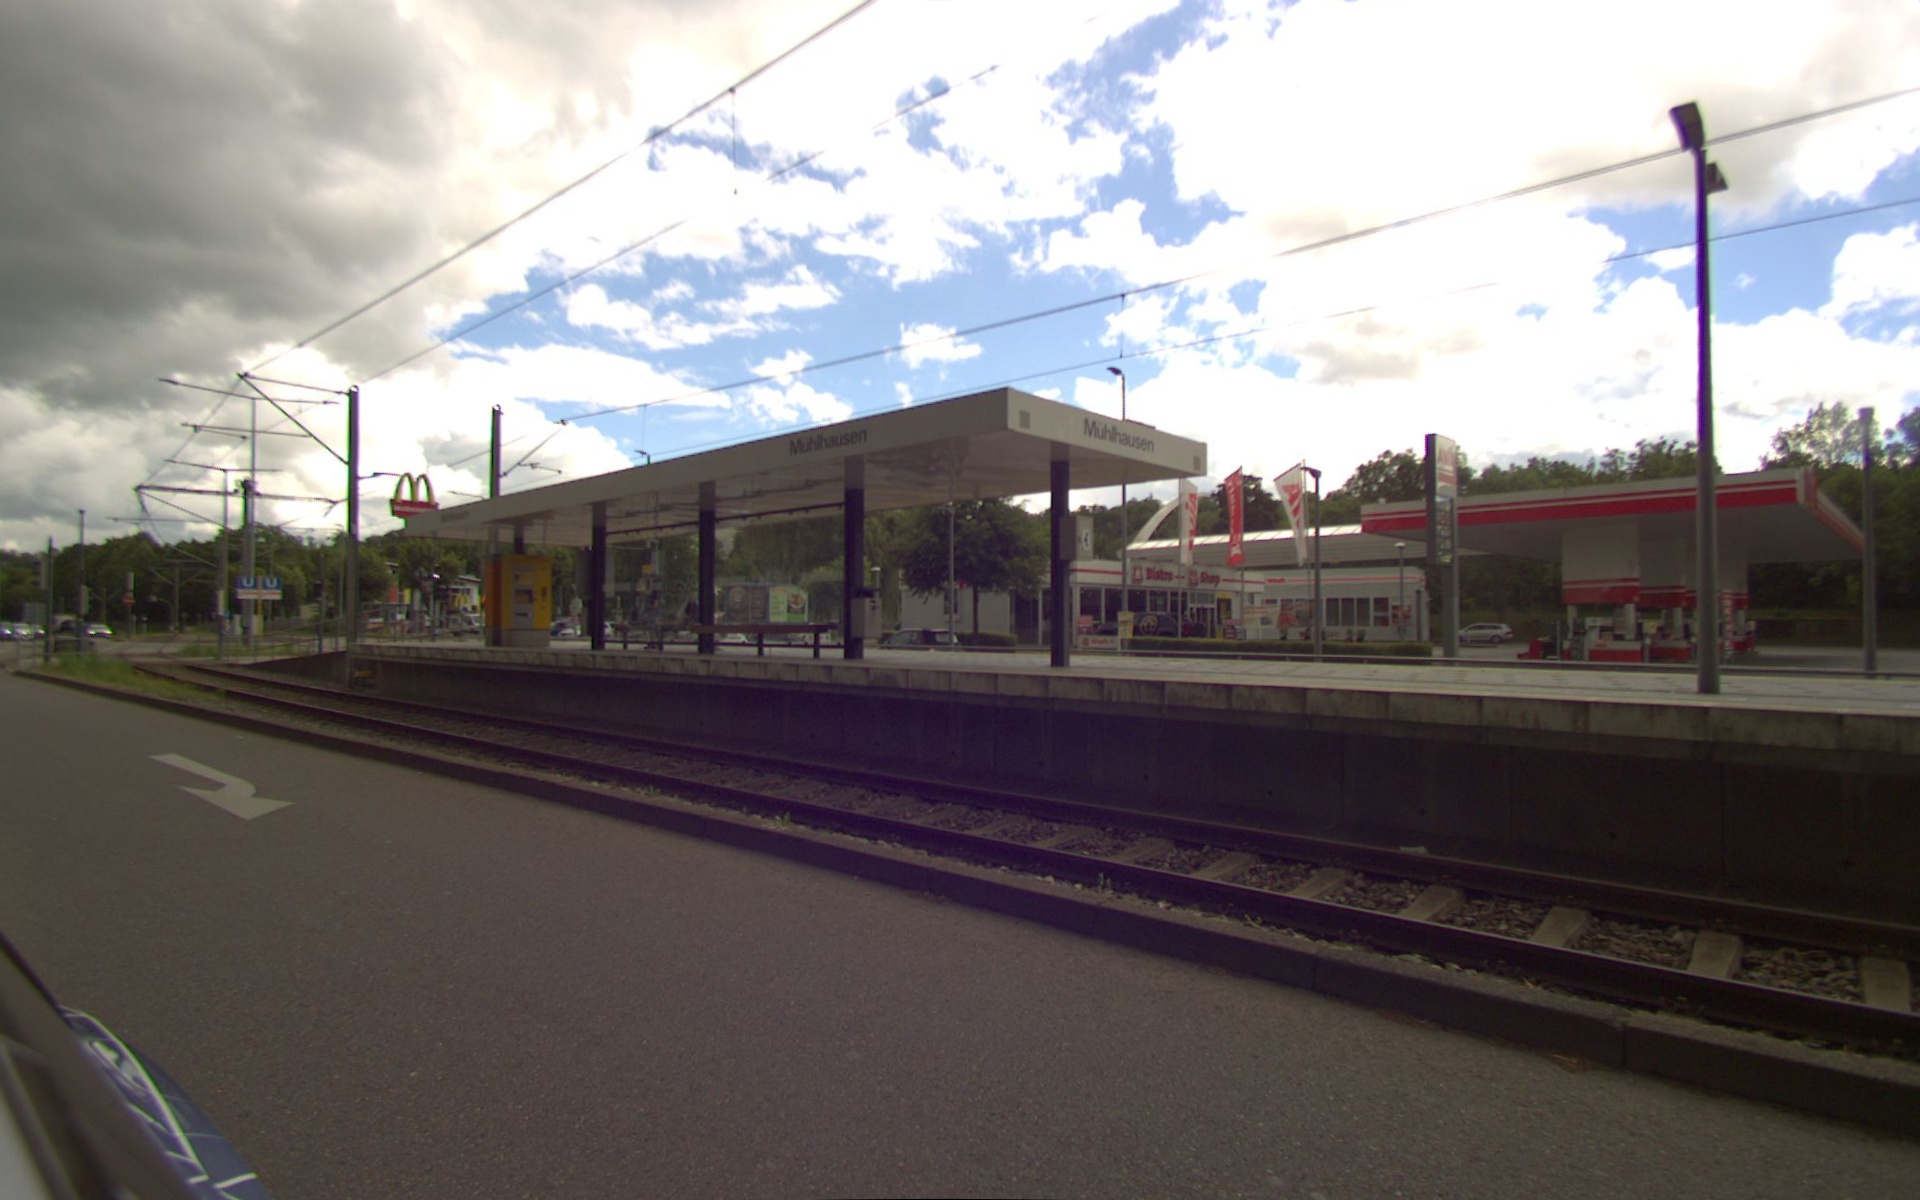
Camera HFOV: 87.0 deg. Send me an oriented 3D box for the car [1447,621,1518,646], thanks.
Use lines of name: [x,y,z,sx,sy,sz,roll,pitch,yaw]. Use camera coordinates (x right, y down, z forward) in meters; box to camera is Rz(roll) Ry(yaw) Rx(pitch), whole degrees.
car: [37.914,2.424,73.505,4.431,1.719,1.894,-1,-3,33]

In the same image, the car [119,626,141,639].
car: [-133.813,5.244,163.166,3.998,2.029,1.973,-1,-3,41]

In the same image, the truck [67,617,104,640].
truck: [-140.958,4.562,163.059,8.698,3.587,3.390,-1,-3,42]

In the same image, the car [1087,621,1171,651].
car: [7.948,1.703,47.656,3.636,1.360,1.595,-2,-2,43]

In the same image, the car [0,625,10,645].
car: [-74.657,2.659,77.684,1.967,1.547,4.009,3,-3,-36]

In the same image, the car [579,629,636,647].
car: [-28.859,3.081,83.054,1.788,1.443,4.375,-1,-2,28]

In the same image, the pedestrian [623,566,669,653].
pedestrian: [-5.983,0.193,19.289,0.572,1.633,0.577,-1,-4,43]

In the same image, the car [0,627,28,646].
car: [-78.385,3.002,83.552,1.802,1.564,4.008,3,-3,-38]

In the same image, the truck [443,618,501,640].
truck: [-44.529,2.612,92.245,6.195,1.920,2.565,-1,-3,41]

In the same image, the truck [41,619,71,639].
truck: [-143.076,4.602,160.197,8.308,3.055,2.675,-1,-3,43]

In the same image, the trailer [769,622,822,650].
trailer: [-13.802,3.016,84.982,1.559,2.275,4.332,-1,-3,41]

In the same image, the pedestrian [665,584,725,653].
pedestrian: [-4.737,0.335,18.073,0.728,1.198,0.760,-2,-2,45]

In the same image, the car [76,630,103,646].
car: [-87.887,3.862,102.235,1.937,1.564,4.006,3,-3,-40]

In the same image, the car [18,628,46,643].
car: [-95.254,3.635,103.906,1.803,1.564,4.006,3,-3,-40]

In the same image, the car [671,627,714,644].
car: [-25.057,3.333,94.801,1.725,1.566,3.594,-1,-3,38]

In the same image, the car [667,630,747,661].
car: [-11.595,2.065,46.297,4.029,1.360,1.596,-2,-2,42]
